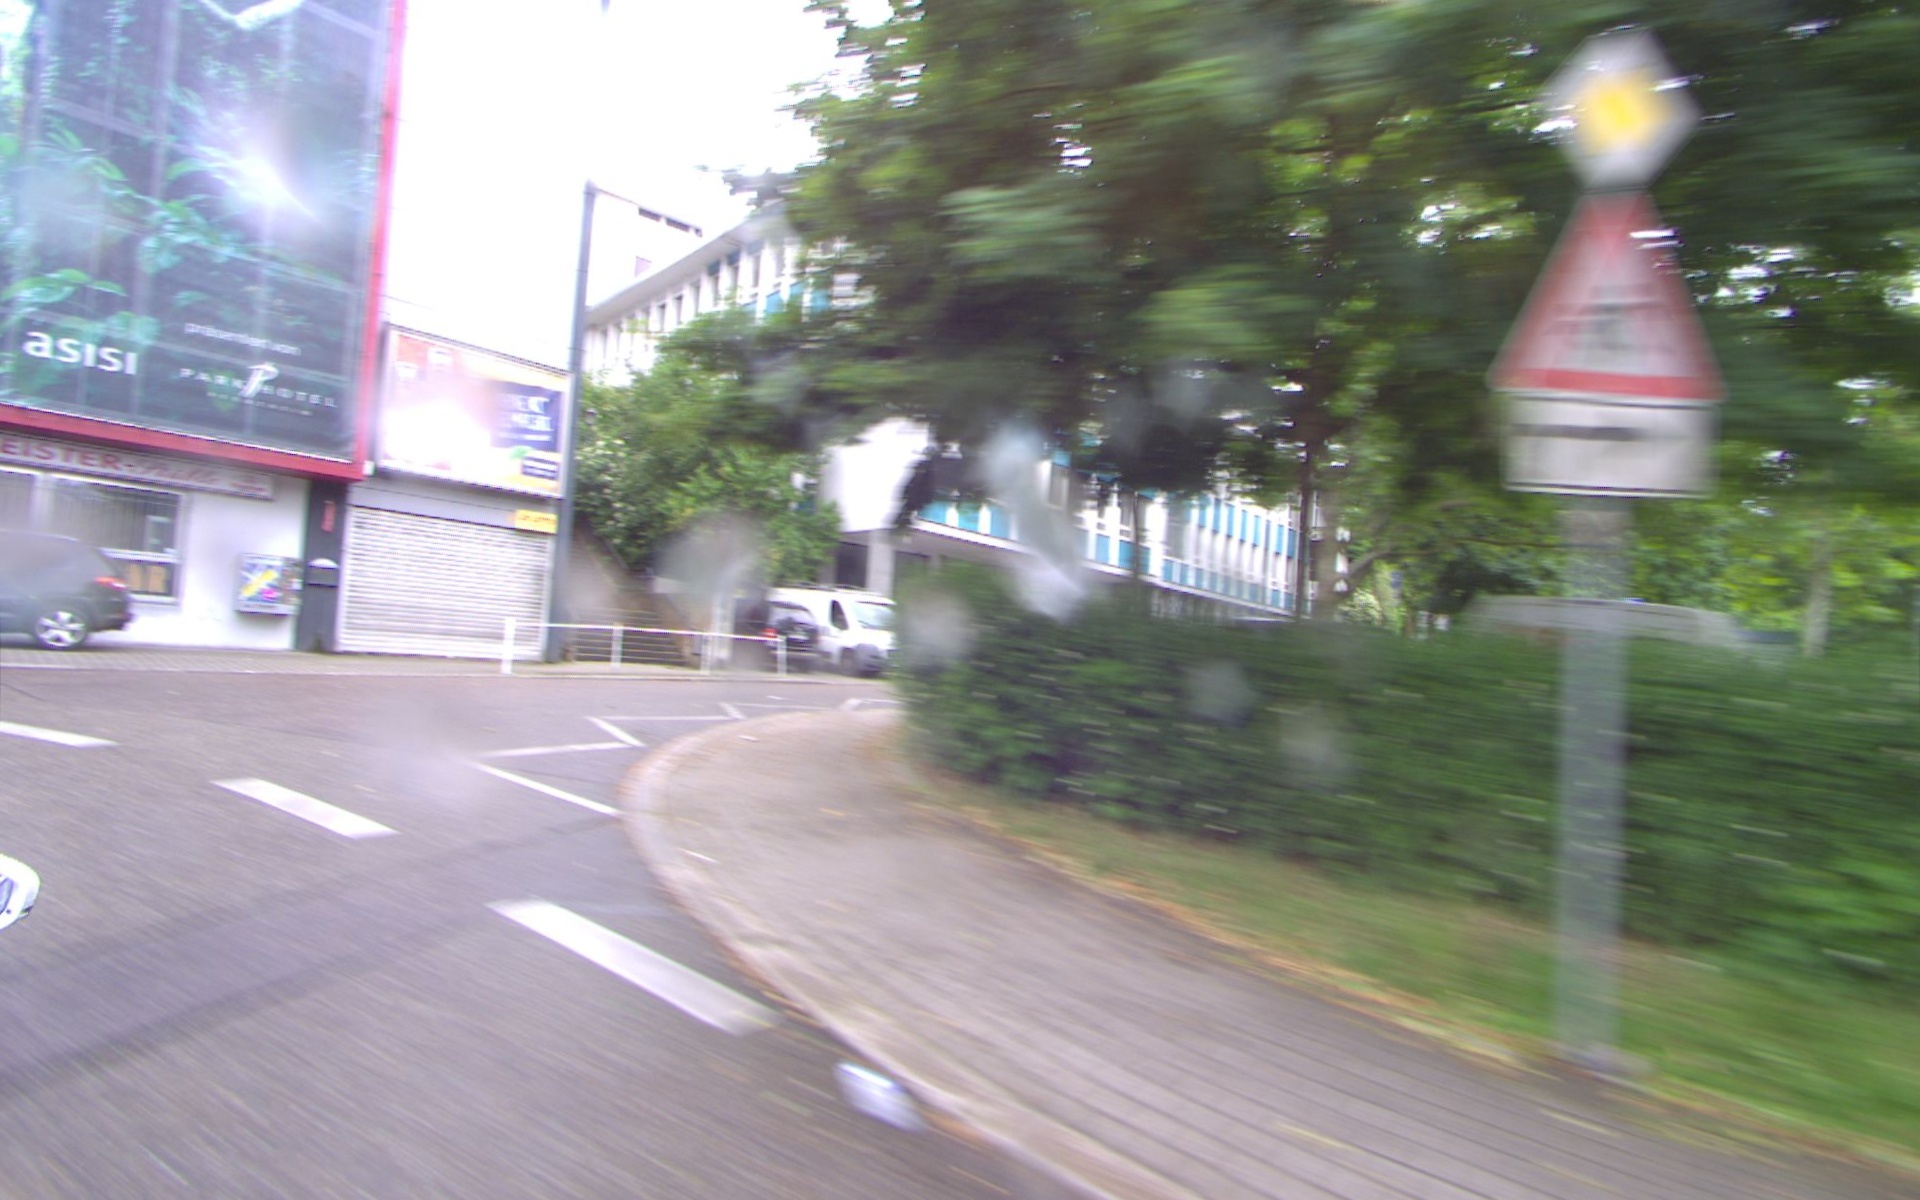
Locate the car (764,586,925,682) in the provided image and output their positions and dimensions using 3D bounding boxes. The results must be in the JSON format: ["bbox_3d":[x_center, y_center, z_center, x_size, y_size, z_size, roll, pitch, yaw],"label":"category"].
[{"bbox_3d":[-3.276,0.880,27.634,1.869,2.238,4.839,5,-1,-41],"label":"car"}]

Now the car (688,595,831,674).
[{"bbox_3d":[-5.263,0.868,26.071,1.869,1.713,3.956,5,-1,-41],"label":"car"}]

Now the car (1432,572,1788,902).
[{"bbox_3d":[5.581,1.056,8.372,1.615,1.983,4.191,7,-1,43],"label":"car"}]

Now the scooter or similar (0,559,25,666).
[{"bbox_3d":[-12.667,0.093,12.388,1.385,1.339,0.803,6,-1,-13],"label":"scooter or similar"}]

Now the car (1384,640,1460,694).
[{"bbox_3d":[20.166,2.945,43.823,1.883,2.100,3.981,3,-2,41],"label":"car"}]

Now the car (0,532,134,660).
[{"bbox_3d":[-14.401,-0.163,14.237,3.975,1.732,1.909,6,-1,-45],"label":"car"}]
